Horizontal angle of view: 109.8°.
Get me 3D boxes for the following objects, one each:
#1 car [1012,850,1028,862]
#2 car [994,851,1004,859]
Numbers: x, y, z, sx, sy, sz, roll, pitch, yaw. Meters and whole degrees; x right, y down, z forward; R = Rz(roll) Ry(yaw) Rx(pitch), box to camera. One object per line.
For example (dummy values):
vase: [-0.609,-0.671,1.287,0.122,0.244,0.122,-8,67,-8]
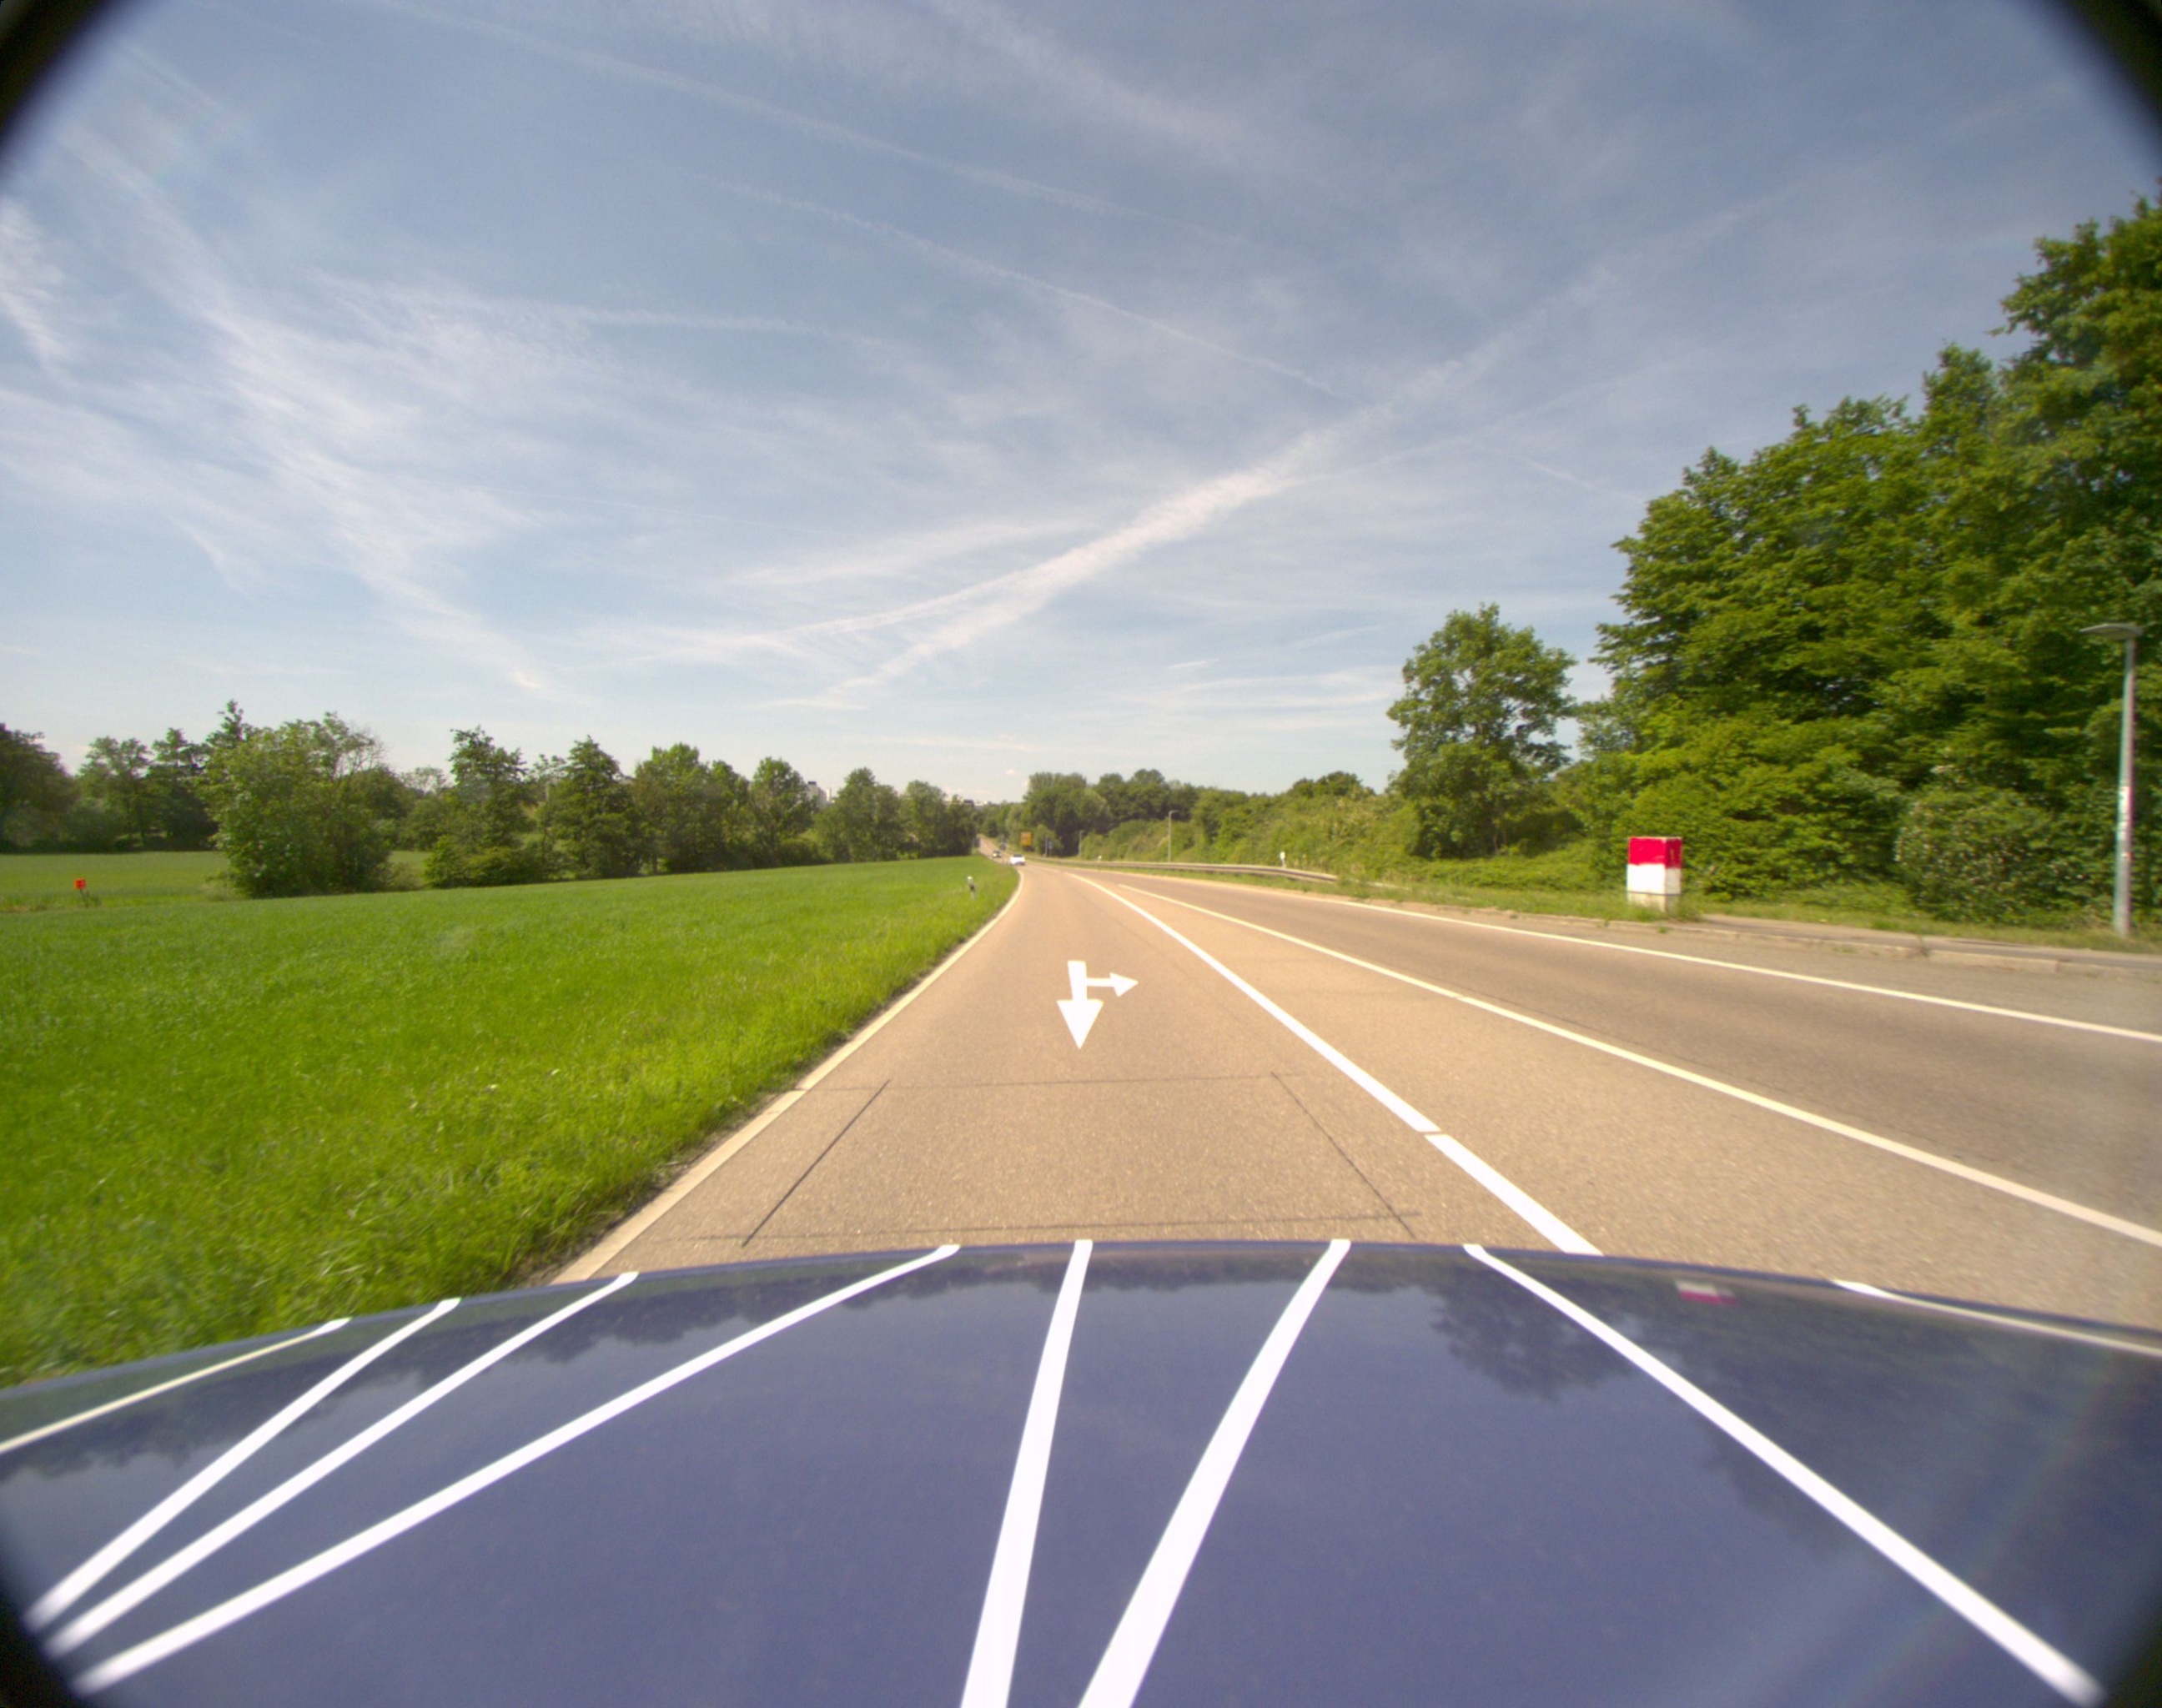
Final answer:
car: [-8.082,0.242,100.126,1.999,1.576,3.998,-2,0,-5]
car: [-17.779,0.234,165.149,2.000,1.576,3.997,-1,0,-8]
